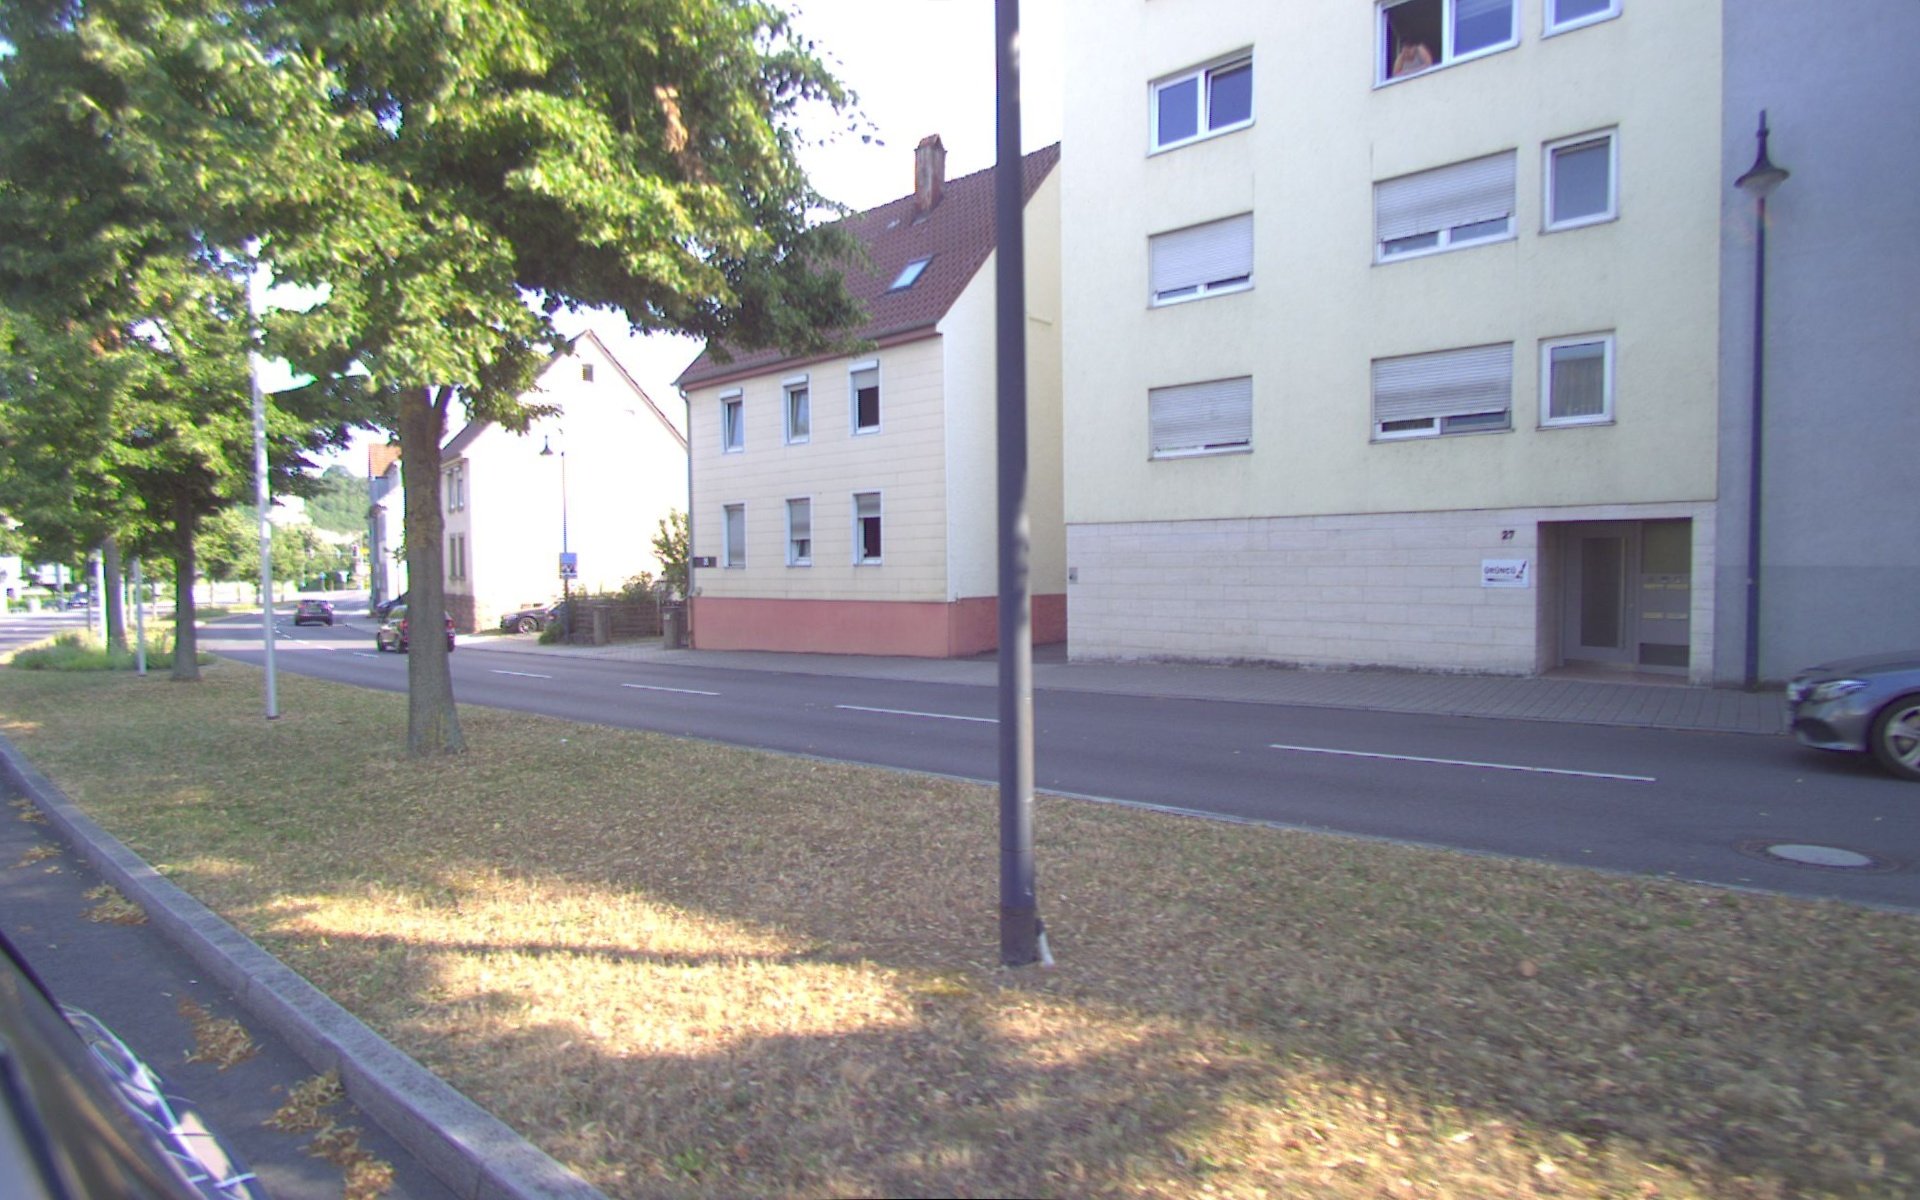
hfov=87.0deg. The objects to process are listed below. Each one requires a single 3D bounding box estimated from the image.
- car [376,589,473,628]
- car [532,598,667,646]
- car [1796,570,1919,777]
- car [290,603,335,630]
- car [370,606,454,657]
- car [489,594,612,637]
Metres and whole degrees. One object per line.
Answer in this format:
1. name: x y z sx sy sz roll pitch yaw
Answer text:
1. car: -31.044 0.453 58.679 4.759 1.891 2.006 -4 2 -32
2. car: -12.882 0.737 36.166 4.285 1.497 1.952 -2 1 -27
3. car: 8.970 0.511 6.880 4.990 1.497 1.834 0 0 39
4. car: -37.284 0.923 58.263 1.914 1.497 4.335 -1 0 -36
5. car: -17.334 0.957 31.940 1.586 1.497 3.790 -1 0 -40
6. car: -16.204 0.577 40.077 4.286 1.497 2.018 -2 1 -28
